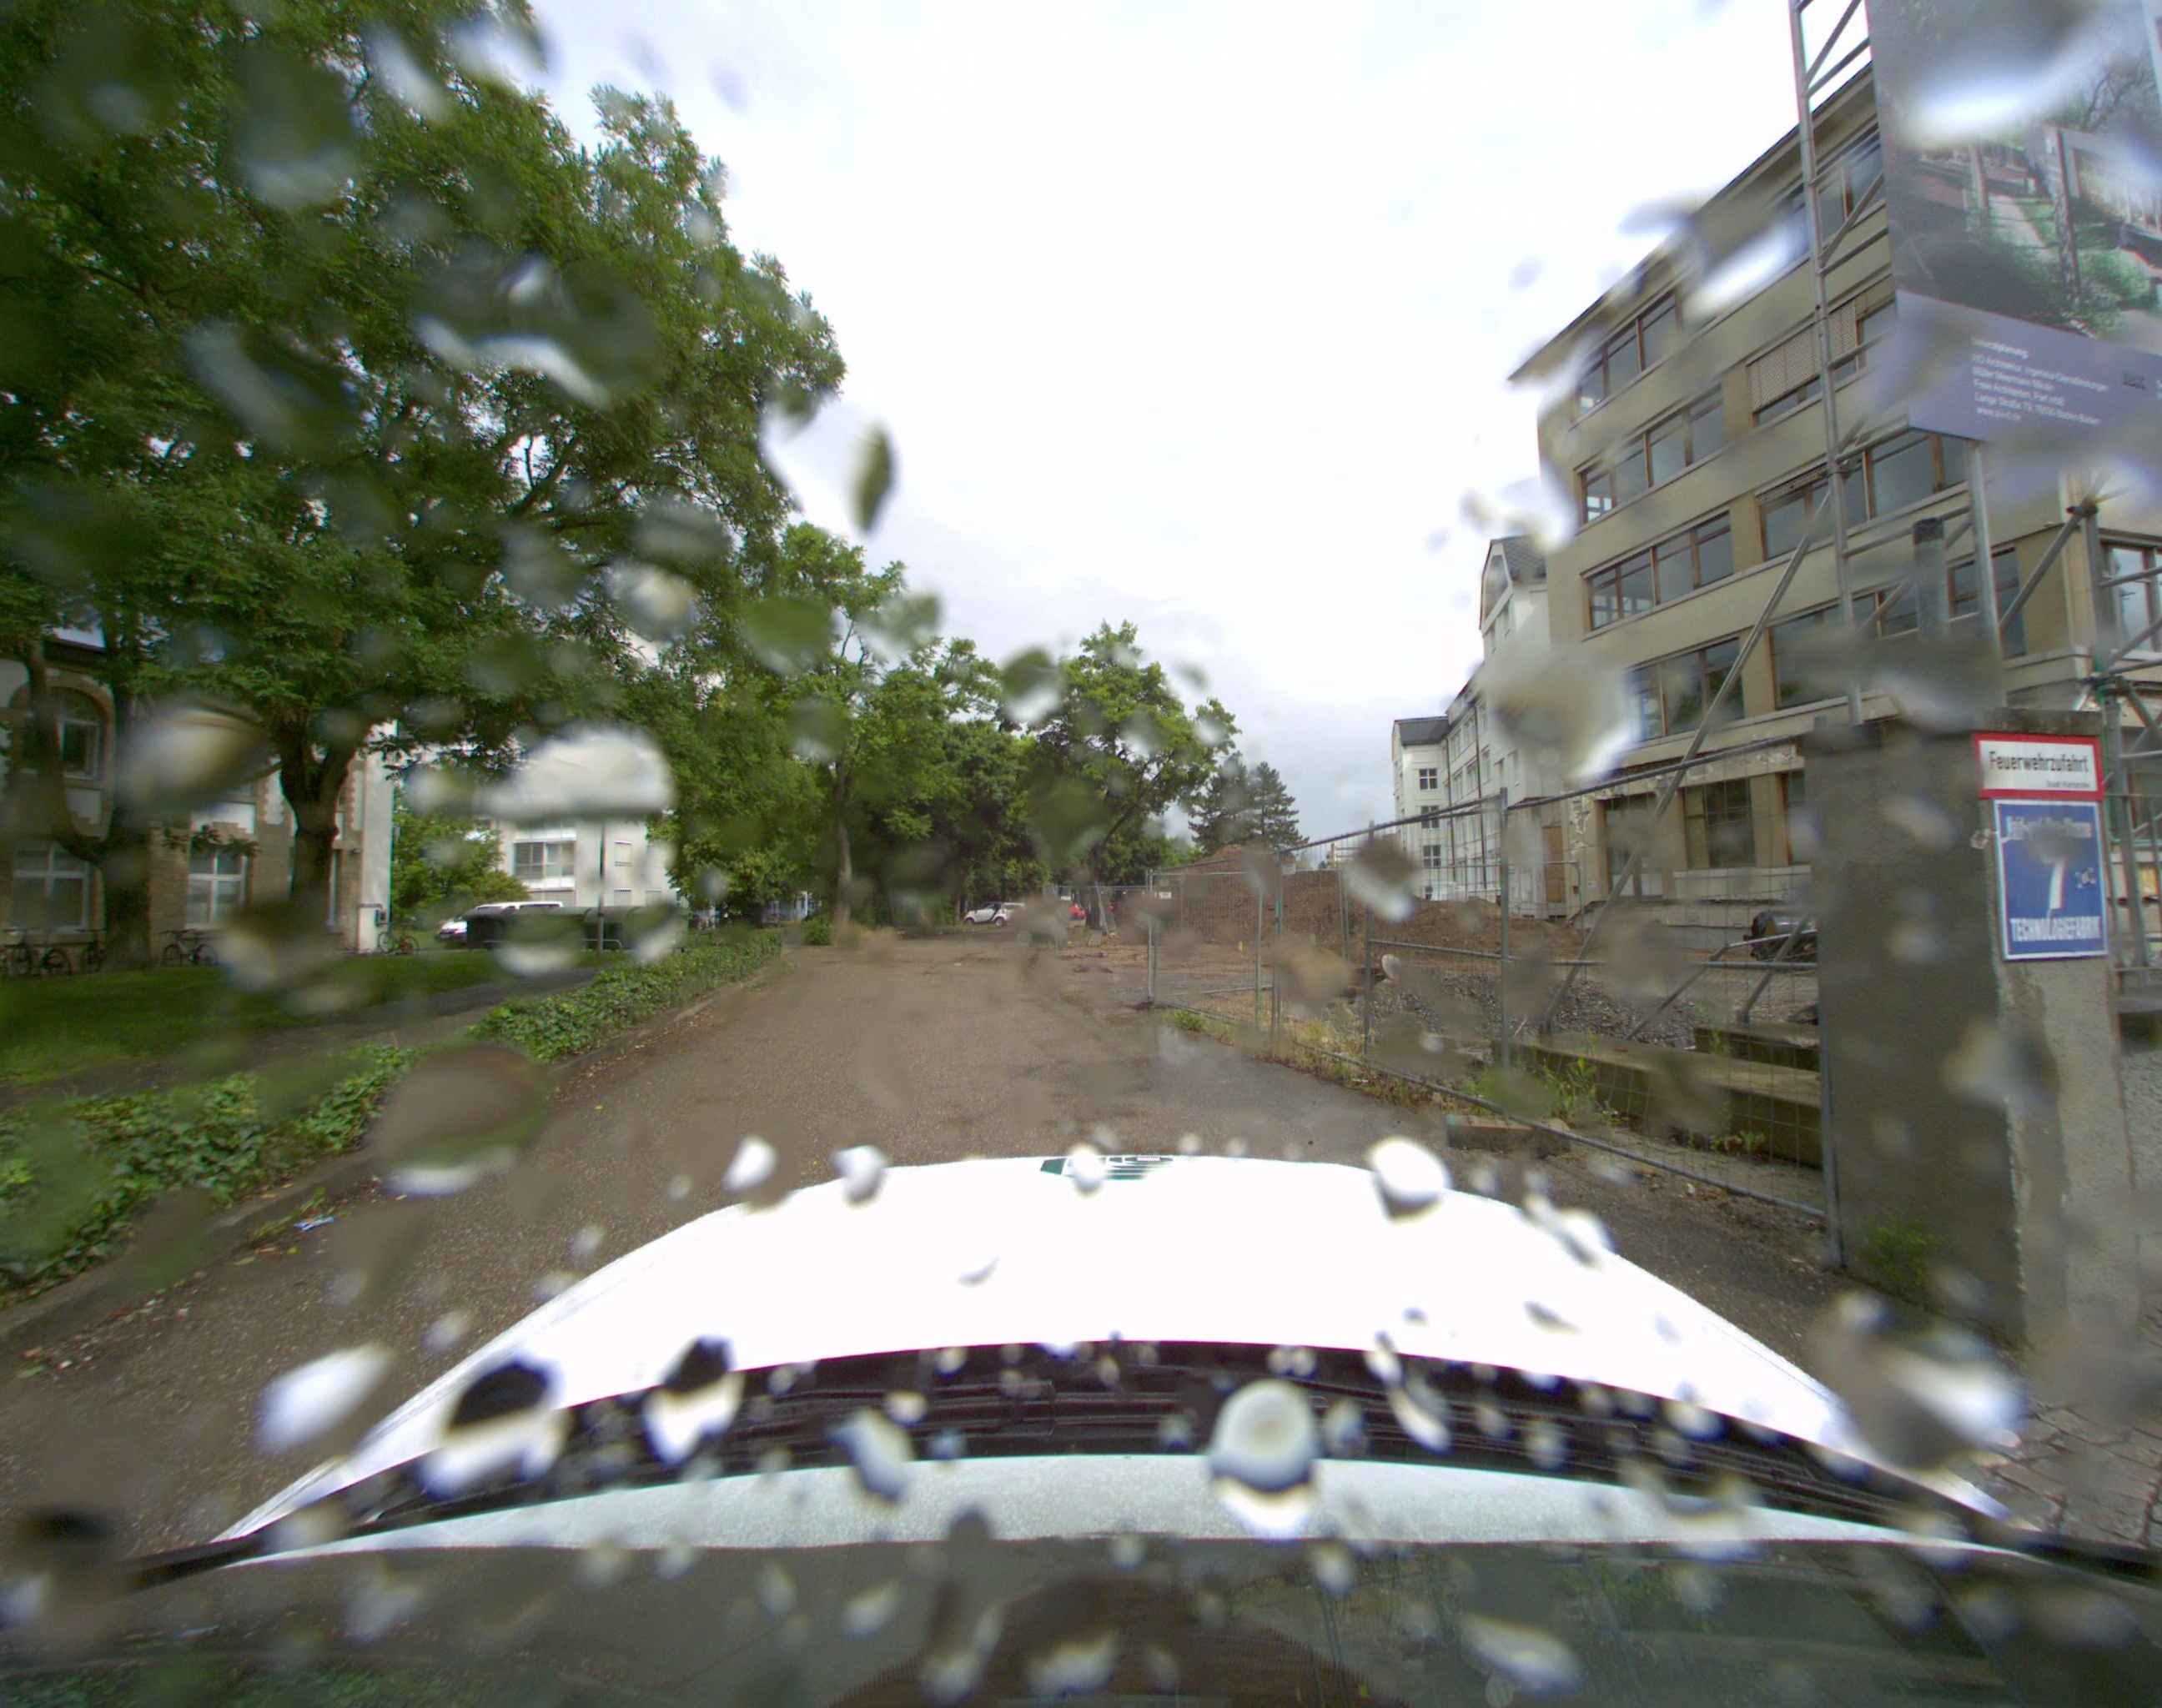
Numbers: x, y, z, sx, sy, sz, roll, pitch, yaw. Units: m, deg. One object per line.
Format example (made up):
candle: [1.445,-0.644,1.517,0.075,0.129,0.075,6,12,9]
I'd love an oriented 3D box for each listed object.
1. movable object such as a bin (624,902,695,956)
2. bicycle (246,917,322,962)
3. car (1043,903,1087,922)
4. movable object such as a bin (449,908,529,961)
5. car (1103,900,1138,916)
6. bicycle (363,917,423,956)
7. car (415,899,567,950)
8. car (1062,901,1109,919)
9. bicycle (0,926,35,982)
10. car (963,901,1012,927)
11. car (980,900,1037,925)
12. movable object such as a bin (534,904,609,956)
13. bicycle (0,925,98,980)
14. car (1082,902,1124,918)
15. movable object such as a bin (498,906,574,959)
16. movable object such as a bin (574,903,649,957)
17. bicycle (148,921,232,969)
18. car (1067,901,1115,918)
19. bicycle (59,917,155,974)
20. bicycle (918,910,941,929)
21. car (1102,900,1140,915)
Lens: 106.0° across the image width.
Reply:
movable object such as a bin: [-12.102,2.157,23.416,1.467,1.474,1.110,-3,-5,24]
bicycle: [-21.682,2.325,22.152,1.769,1.116,0.619,-3,-3,14]
car: [-1.315,4.841,67.537,3.258,1.425,1.599,-1,-2,17]
movable object such as a bin: [-17.914,2.413,24.672,1.580,1.483,1.171,-2,-3,9]
car: [4.157,5.657,85.463,3.567,1.621,1.873,0,-2,7]
bicycle: [-20.963,2.507,24.833,1.504,1.116,0.619,-3,-3,14]
car: [-24.831,2.951,34.549,2.076,1.926,4.909,-3,-5,16]
car: [0.396,4.936,71.909,3.765,1.529,1.916,-1,-2,15]
bicycle: [-22.828,2.097,16.900,1.906,1.116,0.619,-3,-3,14]
car: [-5.774,3.696,50.512,2.743,1.484,1.593,-1,-2,2]
car: [-4.680,3.778,52.759,3.419,1.469,1.741,-1,-2,2]
movable object such as a bin: [-14.974,2.227,23.979,1.389,1.483,1.171,-1,-4,10]
bicycle: [-22.658,2.154,17.849,1.906,1.116,0.619,-3,-3,14]
car: [2.182,5.465,79.802,3.918,1.517,1.810,0,-2,10]
movable object such as a bin: [-16.361,2.350,24.469,1.483,1.483,1.171,-2,-3,9]
movable object such as a bin: [-13.605,2.187,23.633,1.390,1.484,1.170,0,-4,8]
bicycle: [-22.088,2.251,20.191,1.769,1.116,0.619,-3,-3,14]
car: [0.946,5.051,74.130,3.958,1.496,2.001,-1,-2,14]
bicycle: [-22.425,2.108,18.754,1.906,1.225,0.619,-3,-3,14]
bicycle: [-7.163,3.099,38.597,0.472,0.861,1.461,-1,-2,15]
car: [4.357,5.730,87.778,3.832,1.573,1.963,0,-2,10]
